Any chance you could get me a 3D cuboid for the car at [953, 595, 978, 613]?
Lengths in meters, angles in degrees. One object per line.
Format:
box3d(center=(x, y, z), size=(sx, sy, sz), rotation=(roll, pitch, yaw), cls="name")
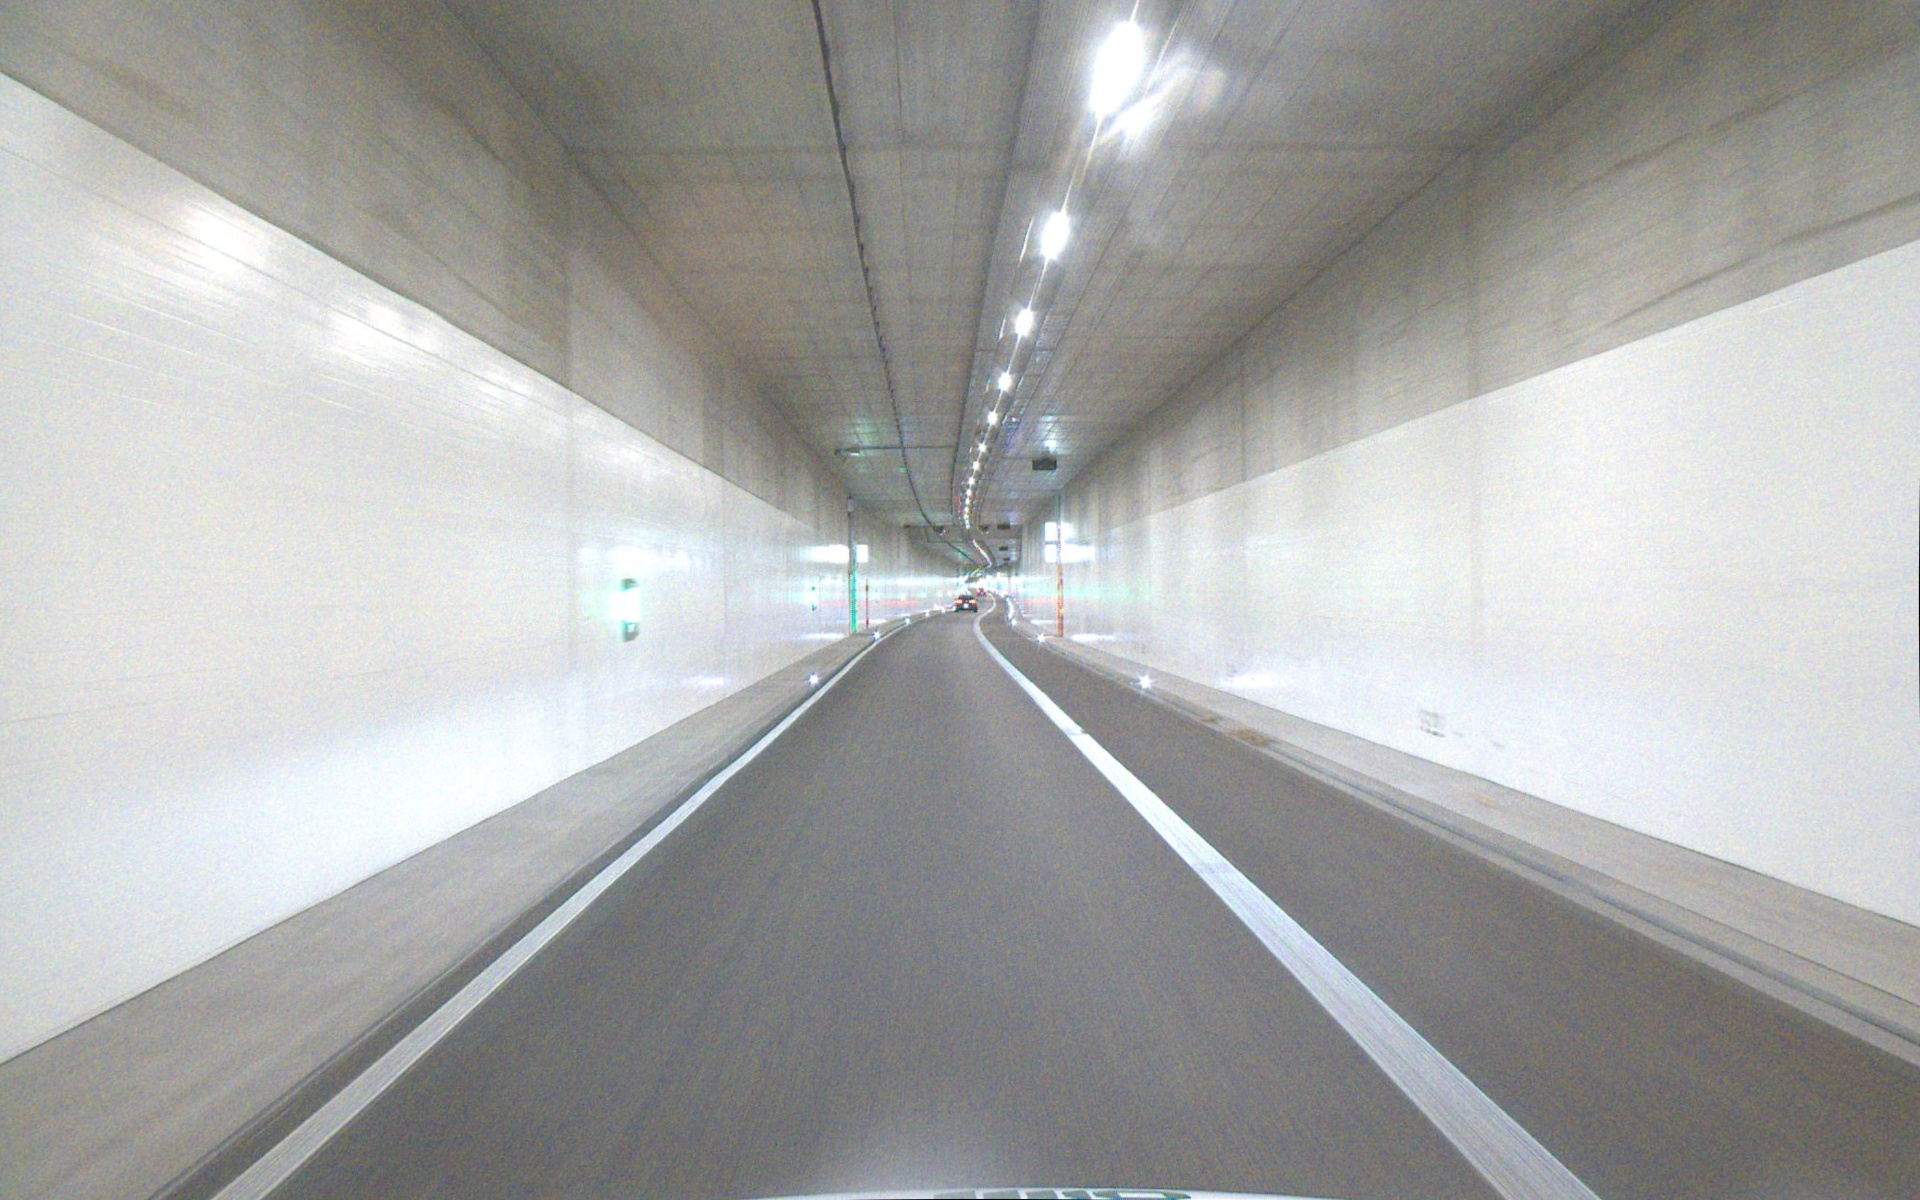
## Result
box3d(center=(0.427, 0.321, 134.583), size=(1.953, 1.445, 3.999), rotation=(1, 0, -1), cls="car")
